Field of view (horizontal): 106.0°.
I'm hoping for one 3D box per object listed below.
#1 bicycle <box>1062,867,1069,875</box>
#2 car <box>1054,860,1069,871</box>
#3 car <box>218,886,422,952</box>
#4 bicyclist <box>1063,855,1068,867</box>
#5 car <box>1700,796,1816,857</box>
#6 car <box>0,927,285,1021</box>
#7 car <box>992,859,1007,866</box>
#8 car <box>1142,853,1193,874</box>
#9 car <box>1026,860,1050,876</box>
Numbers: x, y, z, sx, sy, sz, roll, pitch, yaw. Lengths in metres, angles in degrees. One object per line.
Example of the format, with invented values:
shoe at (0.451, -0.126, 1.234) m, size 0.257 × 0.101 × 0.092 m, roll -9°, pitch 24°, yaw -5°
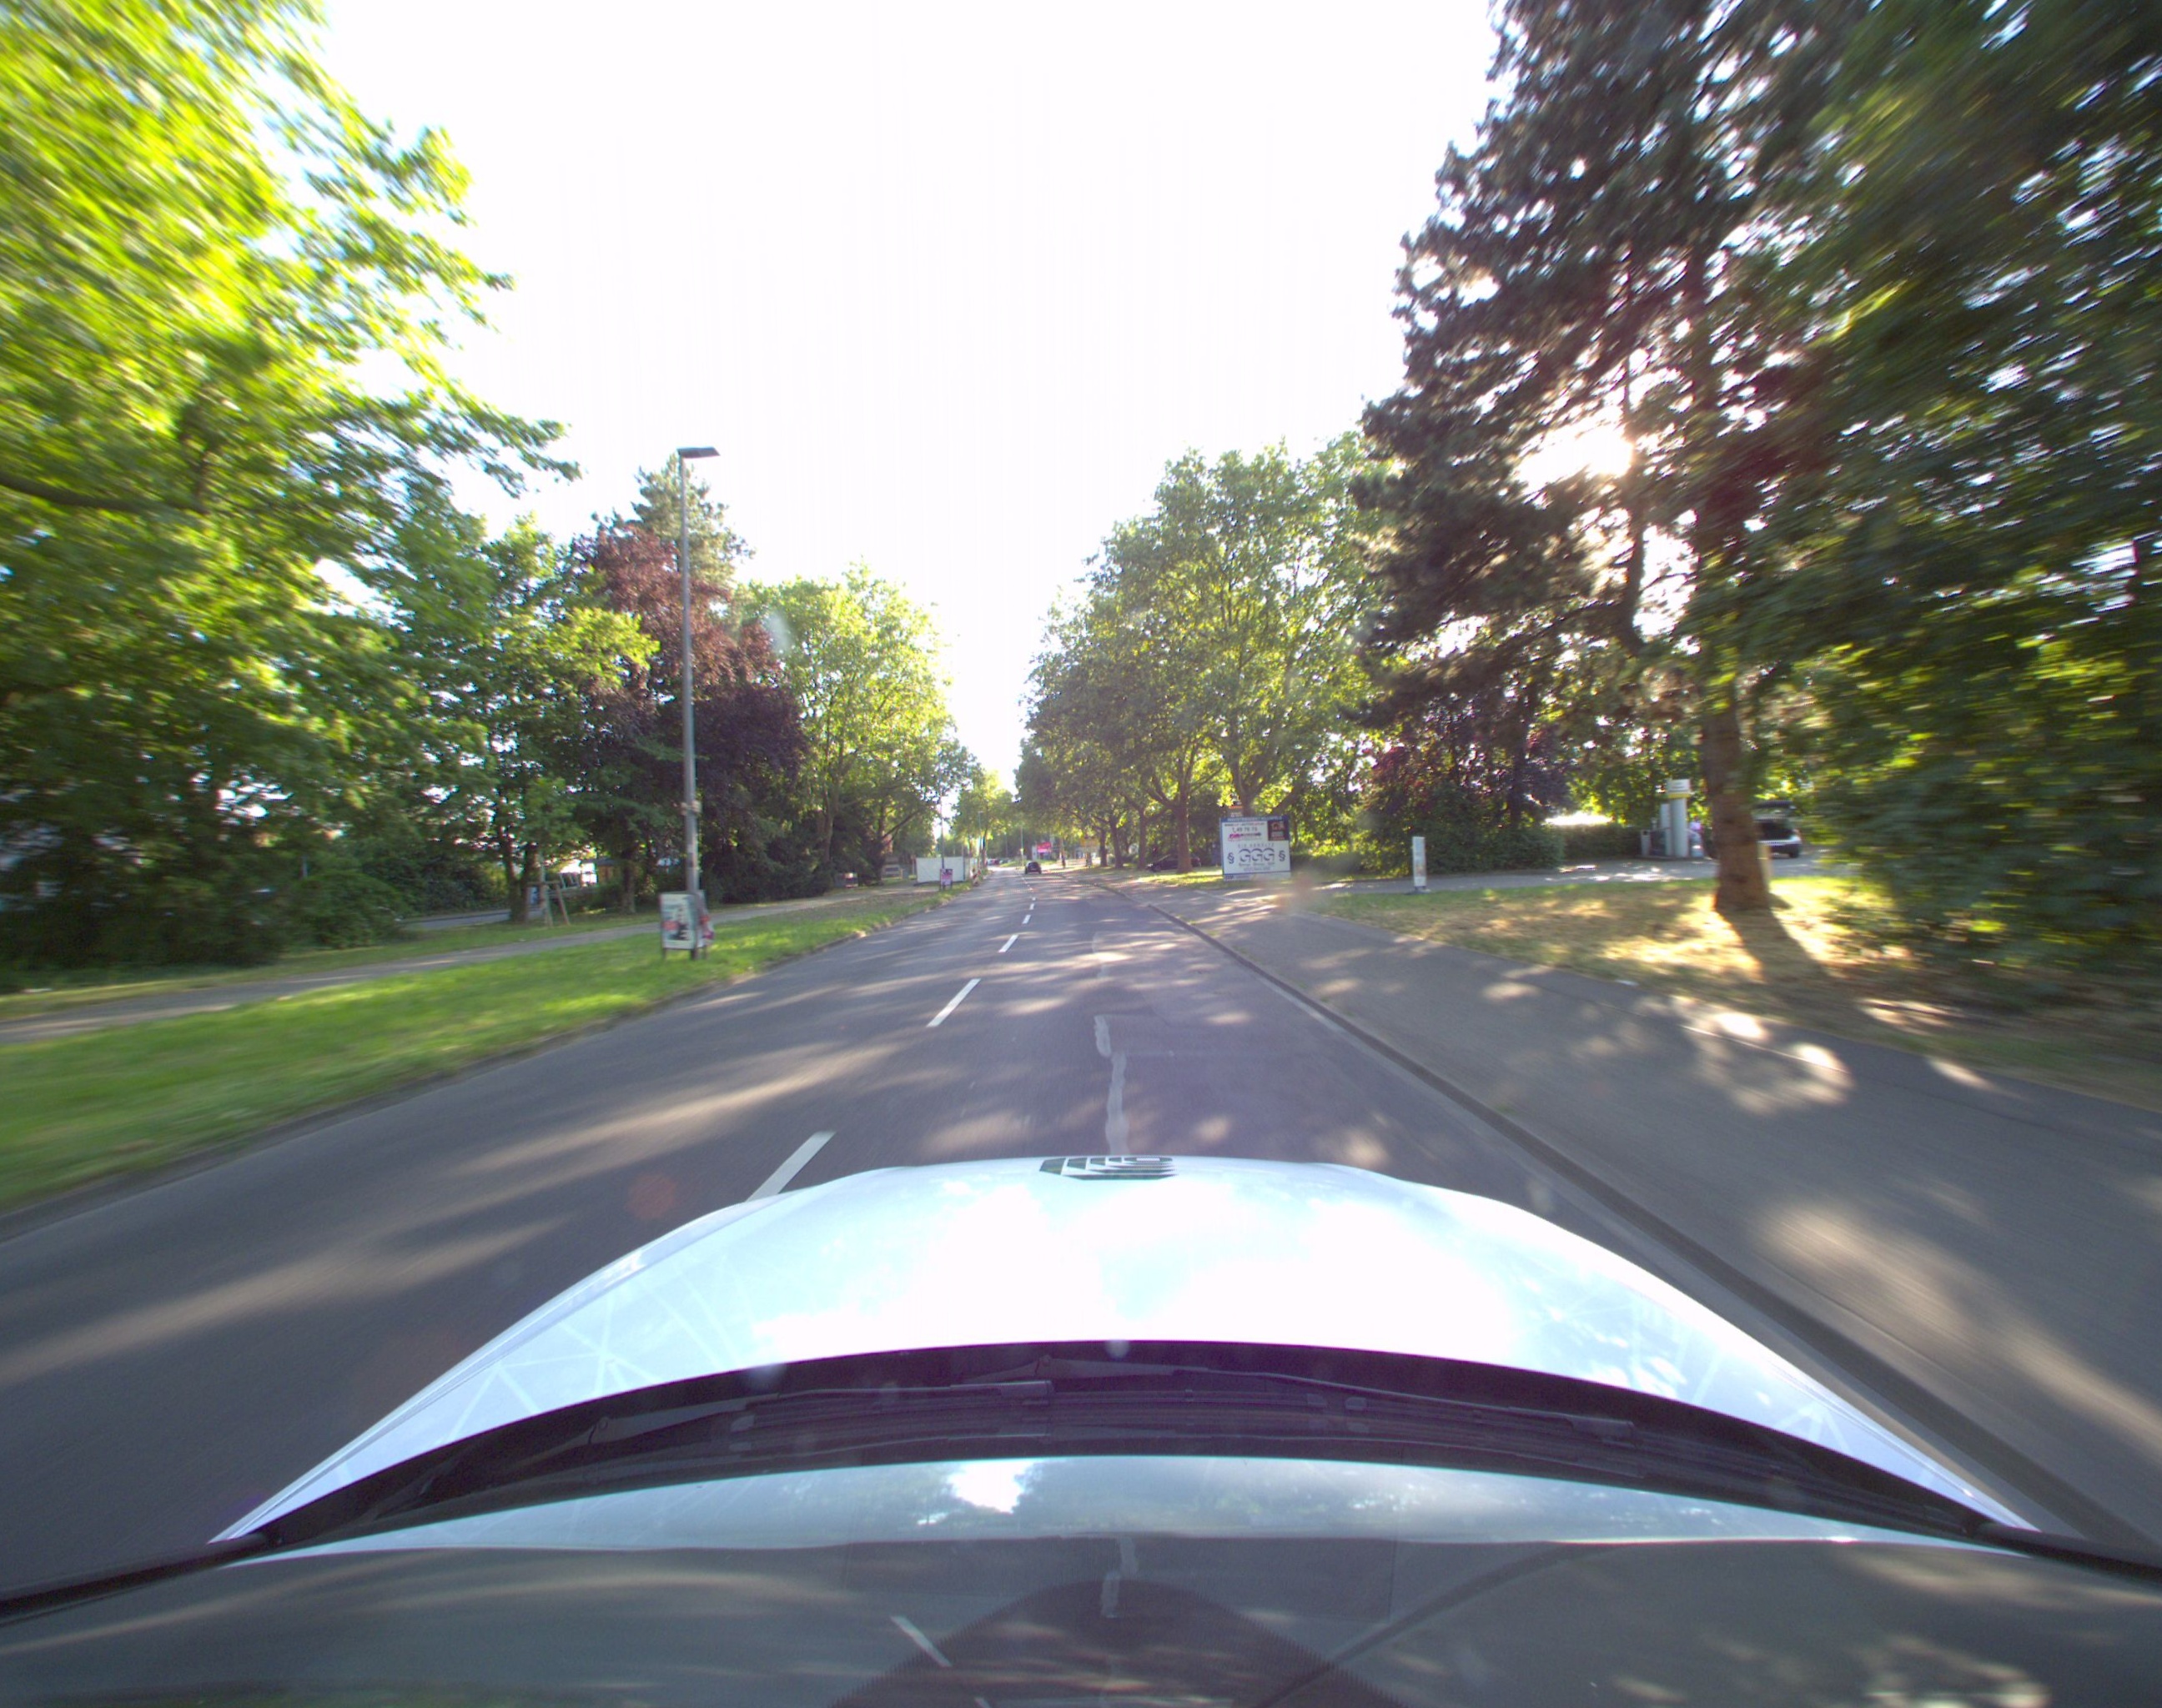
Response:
bicycle at (-2.282, 2.474, 118.740) m, size 0.769 × 0.964 × 2.170 m, roll -4°, pitch -1°, yaw -5°
car at (-3.739, 2.171, 159.820) m, size 1.980 × 2.013 × 4.013 m, roll -3°, pitch 0°, yaw 11°
car at (-22.237, 1.859, 23.955) m, size 3.980 × 1.601 × 1.926 m, roll -3°, pitch -1°, yaw -5°
bicyclist at (-2.321, 0.970, 119.143) m, size 0.650 × 1.705 × 0.870 m, roll -1°, pitch 0°, yaw -5°
car at (24.122, -0.995, 29.190) m, size 1.834 × 1.936 × 4.020 m, roll -4°, pitch 1°, yaw 19°
car at (-20.835, 2.622, 18.191) m, size 3.980 × 1.601 × 1.926 m, roll -3°, pitch -1°, yaw -5°
car at (-24.045, 2.546, 240.952) m, size 4.017 × 1.747 × 1.776 m, roll -1°, pitch 0°, yaw -35°
car at (7.248, 0.794, 68.519) m, size 3.977 × 1.443 × 1.759 m, roll -4°, pitch 0°, yaw -3°
car at (-4.780, 1.507, 91.139) m, size 1.828 × 1.605 × 3.872 m, roll -4°, pitch -1°, yaw 9°
